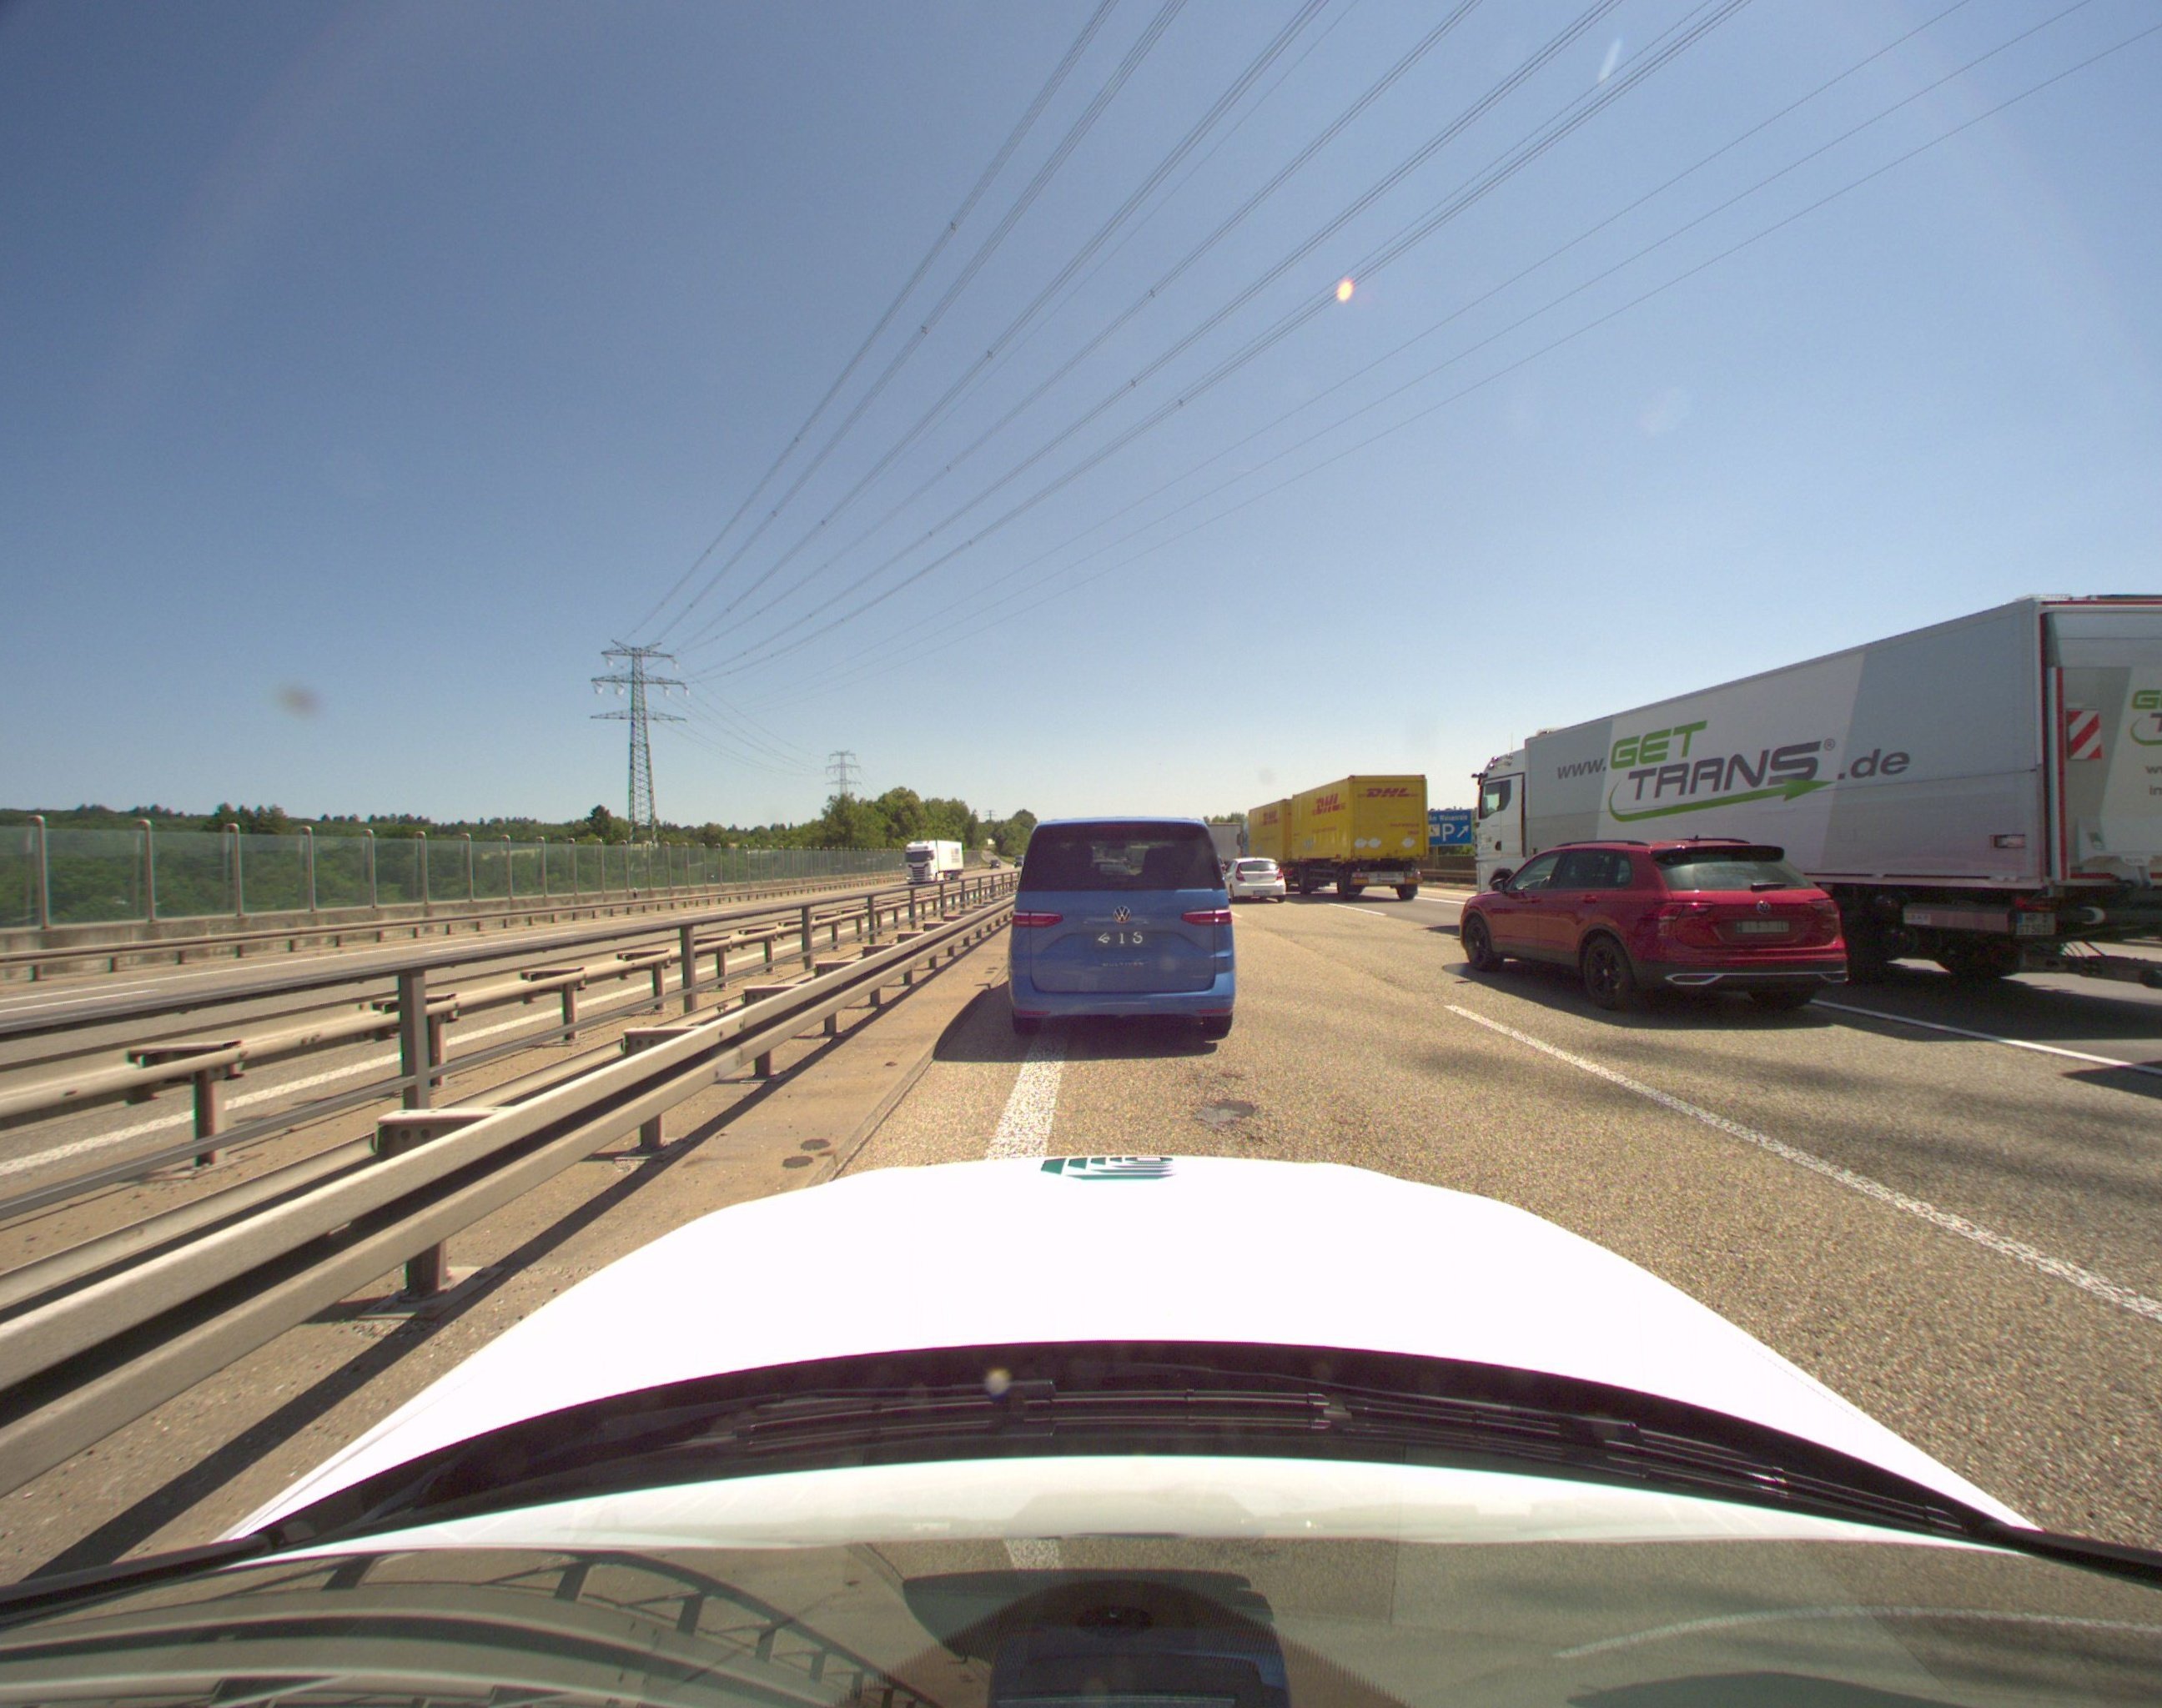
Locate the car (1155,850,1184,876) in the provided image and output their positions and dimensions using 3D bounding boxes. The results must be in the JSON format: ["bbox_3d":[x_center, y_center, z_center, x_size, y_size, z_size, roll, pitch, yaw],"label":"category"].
[{"bbox_3d":[6.802,0.713,62.885,1.955,1.936,3.933,0,-1,2],"label":"car"}]

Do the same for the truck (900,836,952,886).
[{"bbox_3d":[-14.403,0.684,76.255,2.917,4.293,6.862,-4,-1,3],"label":"truck"}]

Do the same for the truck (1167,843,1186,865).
[{"bbox_3d":[10.859,0.059,92.532,1.791,2.449,4.506,0,-1,2],"label":"truck"}]

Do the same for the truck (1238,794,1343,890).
[{"bbox_3d":[9.945,-0.453,39.862,2.690,4.088,9.939,0,-1,1],"label":"truck"}]

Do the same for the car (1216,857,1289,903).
[{"bbox_3d":[5.804,0.856,27.991,1.808,1.470,3.933,0,-1,2],"label":"car"}]

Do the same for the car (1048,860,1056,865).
[{"bbox_3d":[-8.418,2.459,237.271,1.986,1.544,4.387,-3,-1,2],"label":"car"}]

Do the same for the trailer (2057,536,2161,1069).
[{"bbox_3d":[9.258,-0.434,2.444,2.888,3.891,8.216,0,-1,1],"label":"trailer"}]

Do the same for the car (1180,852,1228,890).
[{"bbox_3d":[5.818,0.798,38.909,1.808,1.679,3.933,0,-1,1],"label":"car"}]

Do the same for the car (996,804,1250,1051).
[{"bbox_3d":[0.376,0.589,8.215,1.923,1.874,4.001,0,-1,2],"label":"car"}]

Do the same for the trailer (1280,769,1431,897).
[{"bbox_3d":[9.859,-0.617,30.474,2.673,4.088,8.979,0,-1,0],"label":"trailer"}]

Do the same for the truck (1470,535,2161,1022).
[{"bbox_3d":[9.527,-0.545,11.864,2.841,3.934,10.612,0,-1,1],"label":"truck"}]

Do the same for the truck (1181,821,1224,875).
[{"bbox_3d":[10.983,-0.474,74.269,3.015,4.611,7.924,0,-1,2],"label":"truck"}]

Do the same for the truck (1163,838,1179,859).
[{"bbox_3d":[11.743,-0.722,106.571,1.790,2.596,4.307,0,-1,2],"label":"truck"}]

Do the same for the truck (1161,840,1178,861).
[{"bbox_3d":[10.961,-0.400,101.343,1.735,2.549,4.211,0,-1,2],"label":"truck"}]

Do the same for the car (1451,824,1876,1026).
[{"bbox_3d":[5.871,0.630,8.999,1.702,1.679,4.286,-1,-1,2],"label":"car"}]

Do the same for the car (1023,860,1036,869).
[{"bbox_3d":[-9.164,1.825,145.509,1.765,1.491,4.607,-2,0,2],"label":"car"}]

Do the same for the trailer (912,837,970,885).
[{"bbox_3d":[-14.081,0.768,83.382,2.895,4.307,13.668,-3,-1,2],"label":"trailer"}]

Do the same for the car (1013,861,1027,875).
[{"bbox_3d":[-12.128,2.851,162.440,1.987,2.582,6.650,-4,-1,1],"label":"car"}]

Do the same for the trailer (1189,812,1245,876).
[{"bbox_3d":[10.640,-0.638,64.838,3.015,4.611,10.929,0,-1,2],"label":"trailer"}]

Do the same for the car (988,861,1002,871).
[{"bbox_3d":[-16.761,2.323,158.759,1.950,1.905,4.950,-3,-1,0],"label":"car"}]
